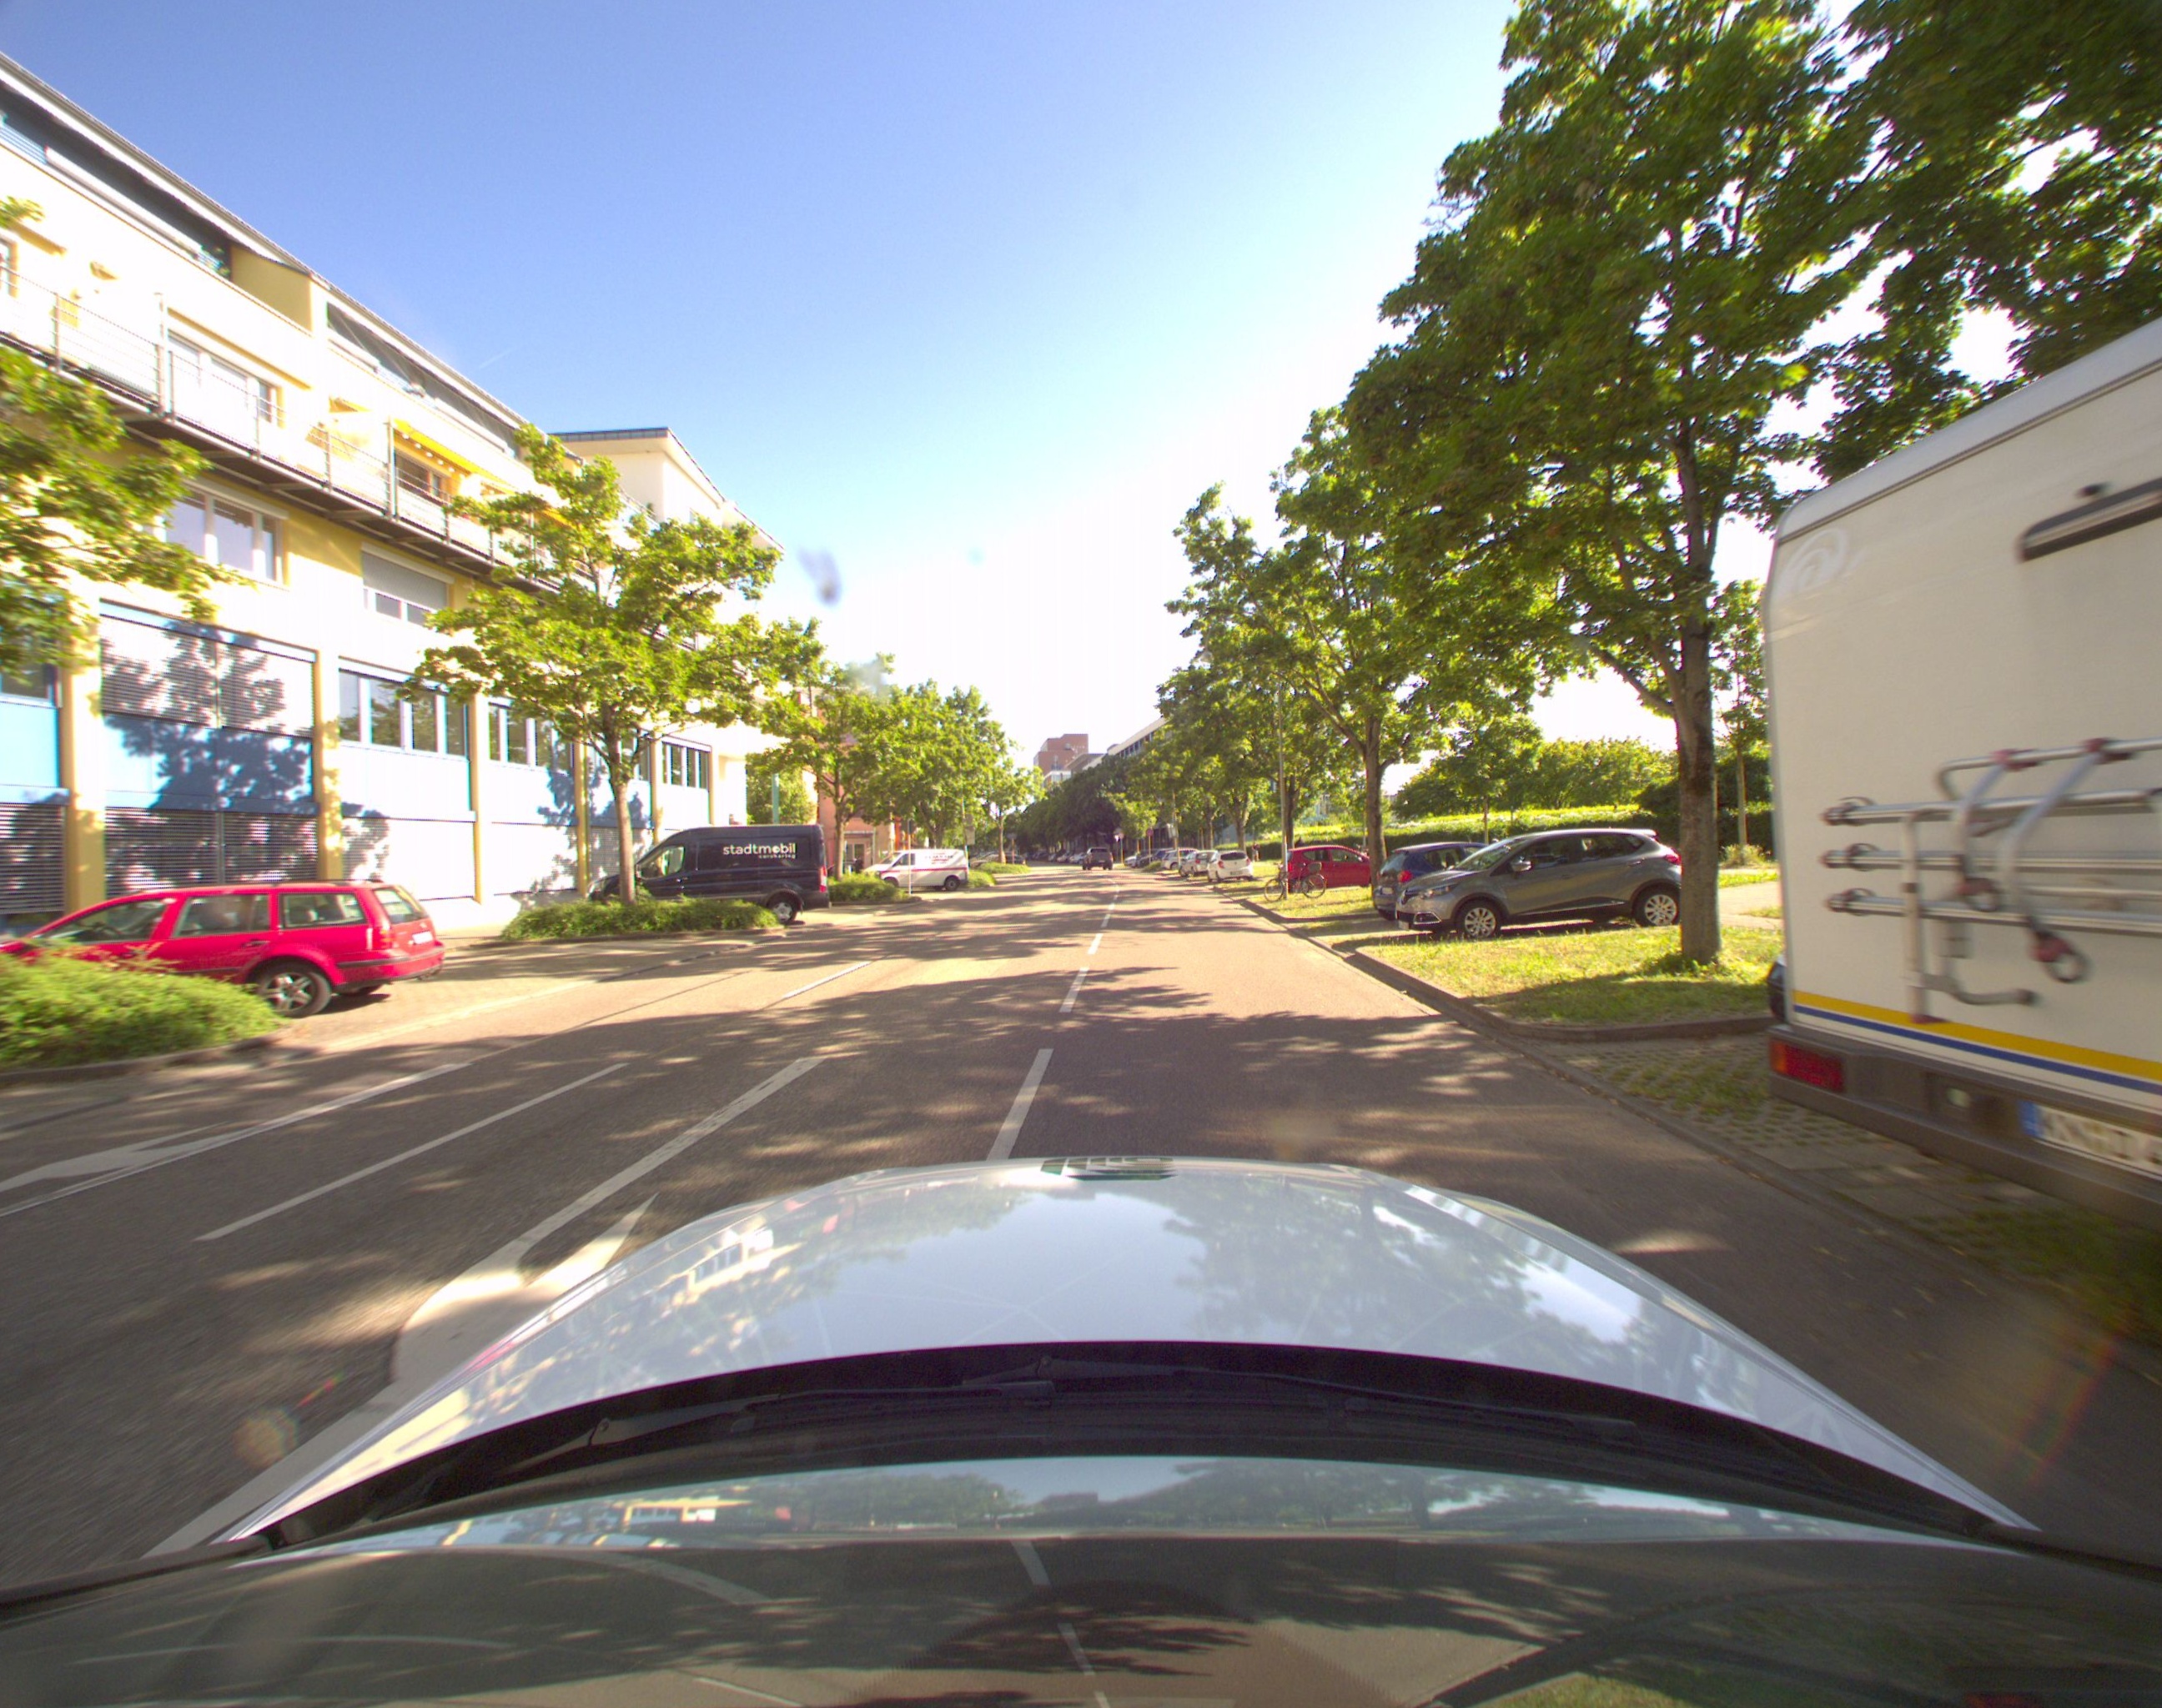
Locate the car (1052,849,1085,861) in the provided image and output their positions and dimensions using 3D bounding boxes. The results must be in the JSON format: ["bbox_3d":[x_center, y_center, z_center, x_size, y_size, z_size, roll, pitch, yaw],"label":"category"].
[{"bbox_3d":[-1.766,0.154,117.460,4.294,1.493,1.993,-4,0,-16],"label":"car"}]

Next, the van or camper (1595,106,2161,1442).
[{"bbox_3d":[5.419,-0.342,2.375,5.959,2.983,2.672,-4,0,2],"label":"van or camper"}]

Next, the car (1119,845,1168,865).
[{"bbox_3d":[5.551,0.107,72.873,3.955,1.515,1.693,-4,0,-15],"label":"car"}]

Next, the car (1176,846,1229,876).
[{"bbox_3d":[6.810,0.369,46.275,1.807,1.493,4.614,-5,0,-6],"label":"car"}]

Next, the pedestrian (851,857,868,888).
[{"bbox_3d":[-12.530,1.051,46.136,0.655,1.725,1.020,-3,0,-5],"label":"pedestrian"}]

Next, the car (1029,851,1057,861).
[{"bbox_3d":[-6.825,0.339,146.400,4.827,1.420,2.024,-4,0,-11],"label":"car"}]

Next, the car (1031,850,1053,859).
[{"bbox_3d":[-7.361,0.102,154.844,3.947,1.514,1.808,-3,0,-8],"label":"car"}]

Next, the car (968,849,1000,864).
[{"bbox_3d":[-13.693,0.309,114.970,4.484,2.090,2.078,0,0,-7],"label":"car"}]

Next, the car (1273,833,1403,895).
[{"bbox_3d":[7.817,0.307,24.990,3.420,1.544,1.629,-5,0,3],"label":"car"}]

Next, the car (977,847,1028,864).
[{"bbox_3d":[-6.777,0.129,70.504,4.256,1.423,1.736,0,0,-6],"label":"car"}]

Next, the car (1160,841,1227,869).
[{"bbox_3d":[7.491,0.068,54.491,4.079,1.429,1.641,-6,0,-2],"label":"car"}]

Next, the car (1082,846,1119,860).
[{"bbox_3d":[2.453,-0.154,103.805,4.508,1.542,1.918,-3,0,-6],"label":"car"}]

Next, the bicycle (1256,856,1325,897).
[{"bbox_3d":[5.706,0.614,22.189,1.738,0.991,0.532,-4,0,15],"label":"bicycle"}]

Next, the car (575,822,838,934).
[{"bbox_3d":[-8.934,0.473,19.898,5.512,2.436,2.169,-1,1,-24],"label":"car"}]

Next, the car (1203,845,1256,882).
[{"bbox_3d":[6.865,0.407,38.028,1.638,1.493,3.763,-4,0,-1],"label":"car"}]

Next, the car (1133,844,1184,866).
[{"bbox_3d":[6.420,0.057,67.801,3.874,1.515,1.745,-4,0,-9],"label":"car"}]

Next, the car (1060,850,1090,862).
[{"bbox_3d":[-0.847,0.249,114.759,3.751,1.493,1.608,-4,0,-16],"label":"car"}]

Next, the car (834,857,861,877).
[{"bbox_3d":[-18.730,1.013,65.205,1.740,1.443,4.104,-3,1,-20],"label":"car"}]

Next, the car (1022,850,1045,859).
[{"bbox_3d":[-9.834,0.087,168.798,4.354,1.704,1.805,-4,0,-12],"label":"car"}]

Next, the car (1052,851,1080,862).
[{"bbox_3d":[-2.320,0.325,124.072,3.971,1.420,1.704,-4,0,-11],"label":"car"}]

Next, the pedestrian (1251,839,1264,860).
[{"bbox_3d":[13.028,-0.330,60.043,0.606,1.542,0.935,-2,0,-7],"label":"pedestrian"}]

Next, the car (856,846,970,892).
[{"bbox_3d":[-7.793,0.653,37.992,4.789,1.985,1.979,-1,1,-34],"label":"car"}]

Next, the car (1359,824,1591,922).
[{"bbox_3d":[7.388,0.340,15.534,3.451,1.479,1.859,-5,0,0],"label":"car"}]

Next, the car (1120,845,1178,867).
[{"bbox_3d":[5.841,0.148,70.296,4.558,1.515,1.972,-4,0,-15],"label":"car"}]

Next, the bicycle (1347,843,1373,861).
[{"bbox_3d":[13.738,-0.086,40.105,0.347,0.866,1.399,-3,0,-20],"label":"bicycle"}]

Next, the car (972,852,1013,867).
[{"bbox_3d":[-8.534,0.483,78.207,3.890,1.423,1.734,0,0,-9],"label":"car"}]

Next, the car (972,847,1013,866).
[{"bbox_3d":[-8.779,0.268,80.627,3.890,1.811,1.780,0,0,-9],"label":"car"}]

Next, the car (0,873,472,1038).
[{"bbox_3d":[-9.769,1.034,9.236,4.240,1.475,1.756,-1,1,-24],"label":"car"}]

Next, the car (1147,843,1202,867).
[{"bbox_3d":[7.165,0.042,62.610,3.802,1.448,1.740,-6,0,-7],"label":"car"}]

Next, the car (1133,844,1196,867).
[{"bbox_3d":[6.679,0.124,65.265,4.548,1.515,2.152,-4,0,-9],"label":"car"}]

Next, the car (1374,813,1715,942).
[{"bbox_3d":[7.033,0.348,12.753,4.174,1.546,1.861,-5,0,4],"label":"car"}]

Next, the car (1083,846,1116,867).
[{"bbox_3d":[1.428,0.171,65.755,1.993,1.640,3.987,0,0,-9],"label":"car"}]

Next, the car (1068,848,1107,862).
[{"bbox_3d":[0.790,0.117,99.939,4.576,1.475,1.742,-4,0,-9],"label":"car"}]

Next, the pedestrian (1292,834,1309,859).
[{"bbox_3d":[14.375,-0.483,53.327,0.723,1.588,0.851,-2,0,-7],"label":"pedestrian"}]
